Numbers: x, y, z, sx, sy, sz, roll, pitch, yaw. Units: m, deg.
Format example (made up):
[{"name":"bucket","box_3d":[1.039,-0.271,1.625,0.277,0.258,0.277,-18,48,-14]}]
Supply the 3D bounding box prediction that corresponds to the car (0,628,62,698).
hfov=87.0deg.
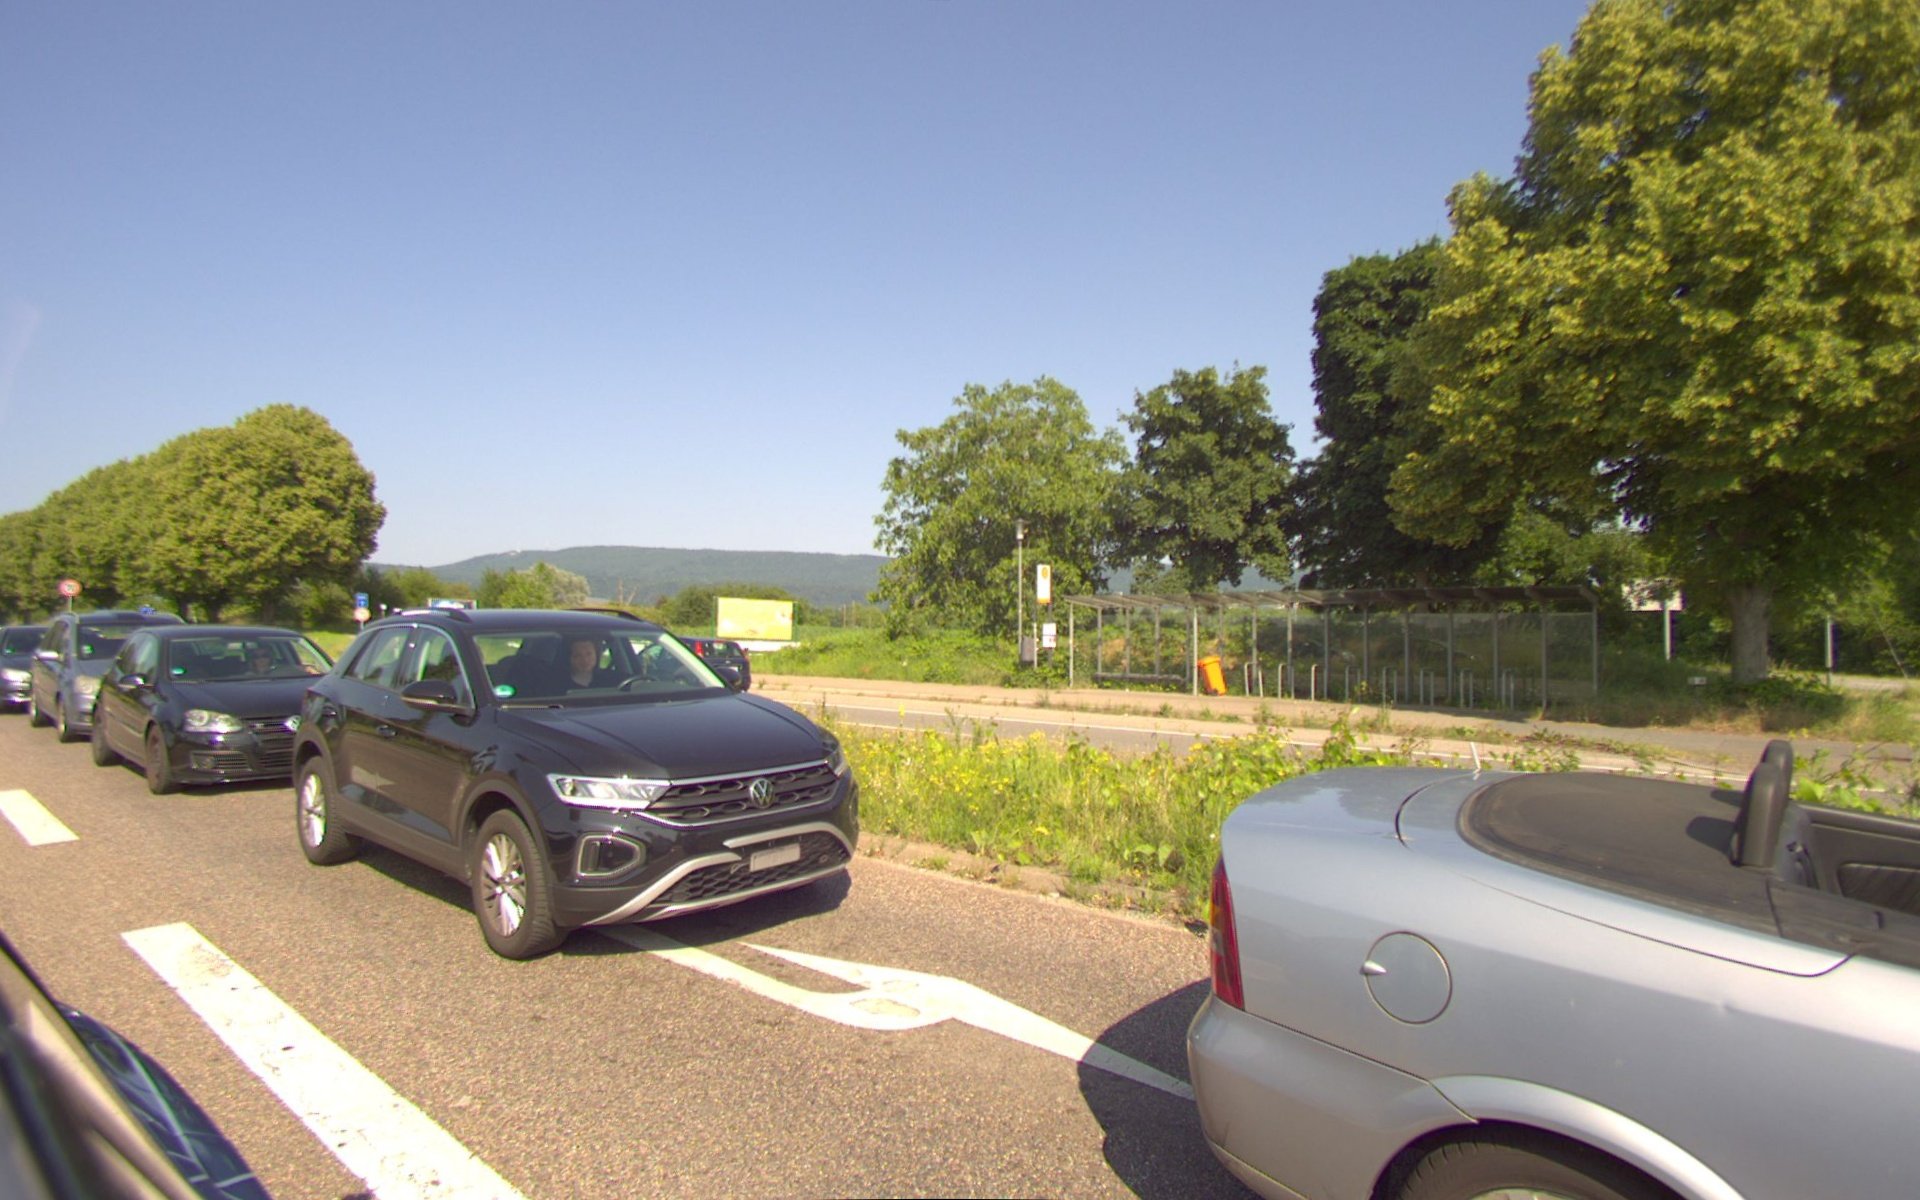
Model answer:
[{"name":"car","box_3d":[-21.402,1.340,22.344,4.639,1.436,1.784,-1,-1,41]}]

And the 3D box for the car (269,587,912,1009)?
[{"name":"car","box_3d":[-2.329,0.789,5.768,4.096,1.559,1.710,-2,-2,42]}]

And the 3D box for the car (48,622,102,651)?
[{"name":"car","box_3d":[-50.329,2.070,57.533,4.149,1.527,1.861,-1,-4,44]}]

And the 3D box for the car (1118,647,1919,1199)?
[{"name":"car","box_3d":[2.409,0.771,1.429,4.096,1.345,1.656,-1,-3,42]}]

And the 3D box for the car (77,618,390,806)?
[{"name":"car","box_3d":[-7.299,0.941,10.009,4.096,1.486,1.648,-2,-2,42]}]

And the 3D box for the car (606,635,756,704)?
[{"name":"car","box_3d":[-6.495,1.576,23.378,3.777,1.453,1.596,-2,-5,44]}]

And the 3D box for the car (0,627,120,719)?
[{"name":"car","box_3d":[-16.241,1.191,17.732,4.353,1.421,1.696,-1,-2,42]}]

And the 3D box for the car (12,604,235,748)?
[{"name":"car","box_3d":[-11.612,0.944,13.940,4.355,1.685,1.723,-2,-2,42]}]
